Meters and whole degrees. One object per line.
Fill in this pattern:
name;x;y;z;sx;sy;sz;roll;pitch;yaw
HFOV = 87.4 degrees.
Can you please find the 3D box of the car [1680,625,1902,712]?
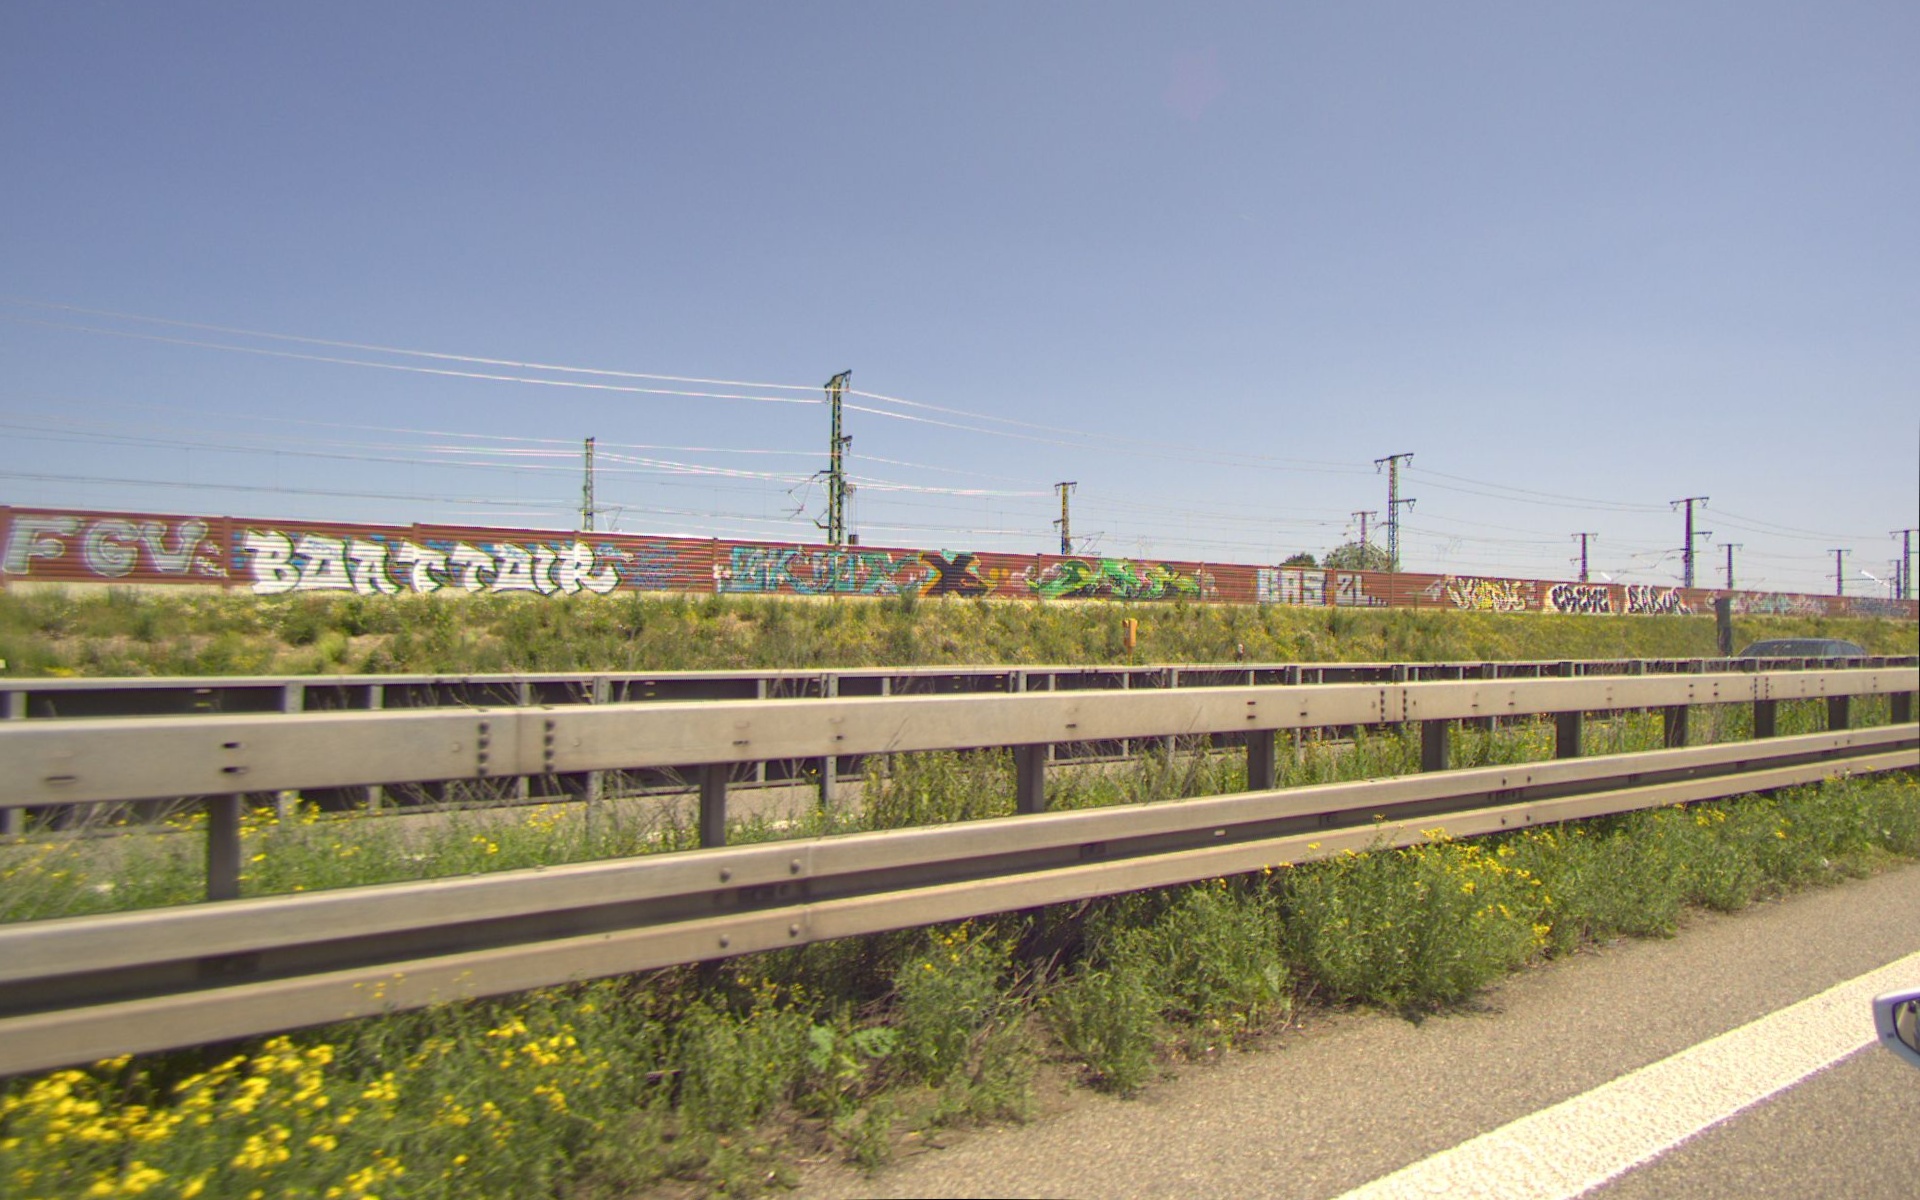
car;16.241;1.271;19.605;4.333;1.483;1.984;1;0;-30
